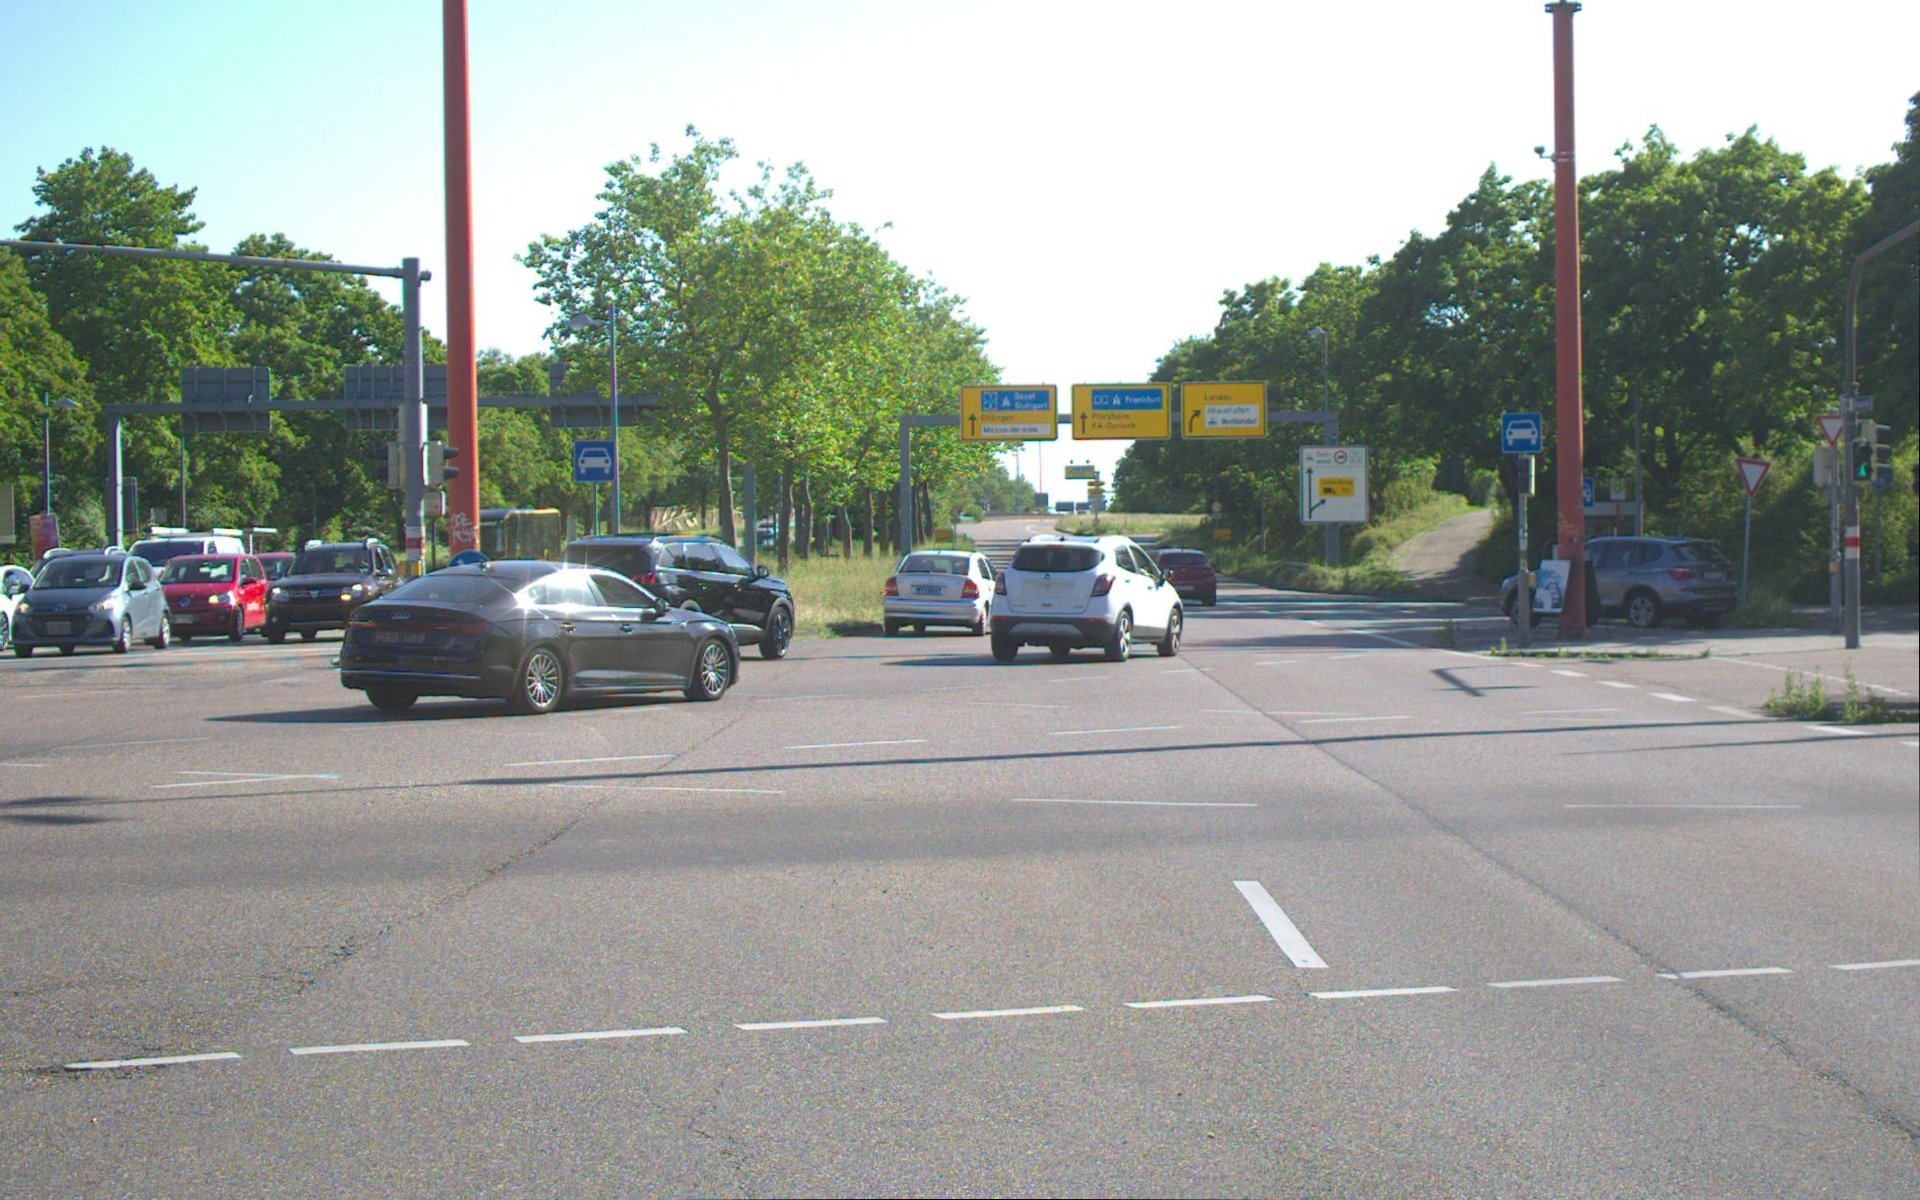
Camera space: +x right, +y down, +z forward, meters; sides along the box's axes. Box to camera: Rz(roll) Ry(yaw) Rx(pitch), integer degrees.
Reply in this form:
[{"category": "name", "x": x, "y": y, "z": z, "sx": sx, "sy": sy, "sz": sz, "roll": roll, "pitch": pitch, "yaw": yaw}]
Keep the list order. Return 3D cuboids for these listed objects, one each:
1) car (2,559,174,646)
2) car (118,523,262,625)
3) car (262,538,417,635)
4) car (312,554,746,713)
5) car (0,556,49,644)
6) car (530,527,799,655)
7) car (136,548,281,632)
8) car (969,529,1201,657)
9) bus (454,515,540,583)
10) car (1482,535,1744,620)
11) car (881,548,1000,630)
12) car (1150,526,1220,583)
[{"category": "car", "x": -13.116, "y": 0.018, "z": 51.902, "sx": 1.739, "sy": 1.239, "sz": 3.613, "roll": -1, "pitch": 1, "yaw": -1}, {"category": "car", "x": -15.823, "y": -0.538, "z": 70.912, "sx": 1.893, "sy": 2.019, "sz": 5.223, "roll": 1, "pitch": 0, "yaw": -1}, {"category": "car", "x": -10.076, "y": -0.244, "z": 56.069, "sx": 1.819, "sy": 1.503, "sz": 4.000, "roll": -1, "pitch": 1, "yaw": -1}, {"category": "car", "x": -3.924, "y": 0.262, "z": 32.056, "sx": 1.762, "sy": 1.345, "sz": 4.356, "roll": 0, "pitch": 1, "yaw": 29}, {"category": "car", "x": -16.425, "y": -0.014, "z": 57.047, "sx": 1.739, "sy": 1.406, "sz": 3.613, "roll": -1, "pitch": 1, "yaw": -1}, {"category": "car", "x": -3.686, "y": -0.141, "z": 43.706, "sx": 1.853, "sy": 1.540, "sz": 4.258, "roll": 0, "pitch": 1, "yaw": 18}, {"category": "car", "x": -12.694, "y": -0.187, "z": 58.271, "sx": 1.739, "sy": 1.357, "sz": 3.613, "roll": -1, "pitch": 1, "yaw": -1}, {"category": "car", "x": 1.728, "y": -0.125, "z": 45.938, "sx": 1.824, "sy": 1.630, "sz": 4.249, "roll": 0, "pitch": 1, "yaw": 21}, {"category": "bus", "x": -22.662, "y": -2.522, "z": 168.753, "sx": 2.492, "sy": 3.227, "sz": 10.000, "roll": -1, "pitch": 1, "yaw": 2}, {"category": "car", "x": 11.796, "y": -0.413, "z": 62.242, "sx": 4.325, "sy": 1.480, "sz": 1.781, "roll": 0, "pitch": 1, "yaw": 38}, {"category": "car", "x": -0.290, "y": -0.183, "z": 57.710, "sx": 1.483, "sy": 1.341, "sz": 3.999, "roll": 0, "pitch": 0, "yaw": 7}, {"category": "car", "x": 5.843, "y": -1.187, "z": 89.119, "sx": 1.680, "sy": 1.430, "sz": 4.064, "roll": 0, "pitch": 1, "yaw": 6}]
